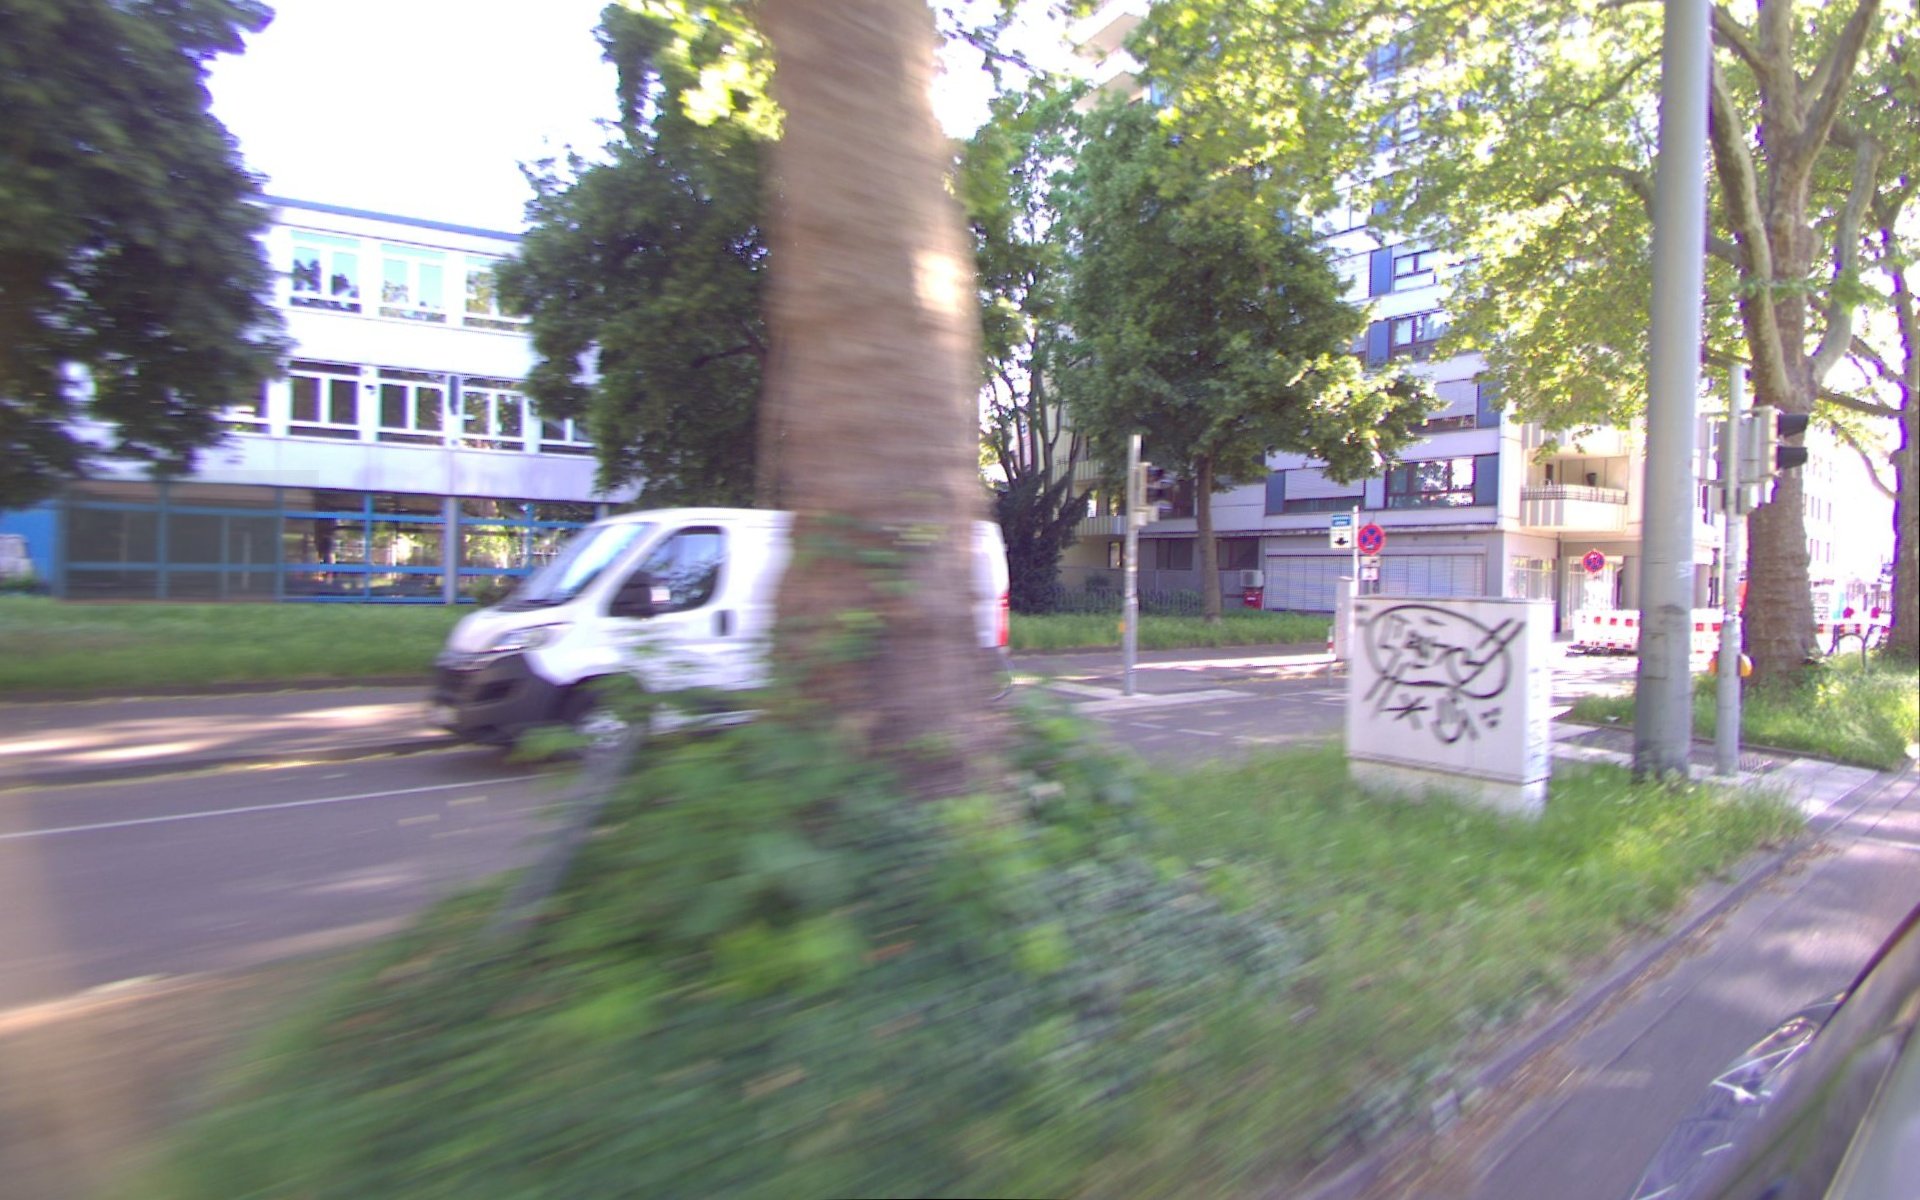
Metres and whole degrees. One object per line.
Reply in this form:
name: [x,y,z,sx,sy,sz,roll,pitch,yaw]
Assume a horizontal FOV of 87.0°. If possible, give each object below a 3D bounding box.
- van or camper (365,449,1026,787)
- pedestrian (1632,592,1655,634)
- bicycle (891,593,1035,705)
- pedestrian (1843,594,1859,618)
van or camper: [-2.207,0.106,9.707,5.721,2.315,2.295,0,1,-41]
pedestrian: [29.892,0.561,44.257,0.654,1.838,0.691,1,0,-41]
bicycle: [0.024,0.569,12.749,0.947,1.279,1.605,1,1,-45]
pedestrian: [57.985,0.412,65.834,0.640,1.525,0.672,1,0,-40]
